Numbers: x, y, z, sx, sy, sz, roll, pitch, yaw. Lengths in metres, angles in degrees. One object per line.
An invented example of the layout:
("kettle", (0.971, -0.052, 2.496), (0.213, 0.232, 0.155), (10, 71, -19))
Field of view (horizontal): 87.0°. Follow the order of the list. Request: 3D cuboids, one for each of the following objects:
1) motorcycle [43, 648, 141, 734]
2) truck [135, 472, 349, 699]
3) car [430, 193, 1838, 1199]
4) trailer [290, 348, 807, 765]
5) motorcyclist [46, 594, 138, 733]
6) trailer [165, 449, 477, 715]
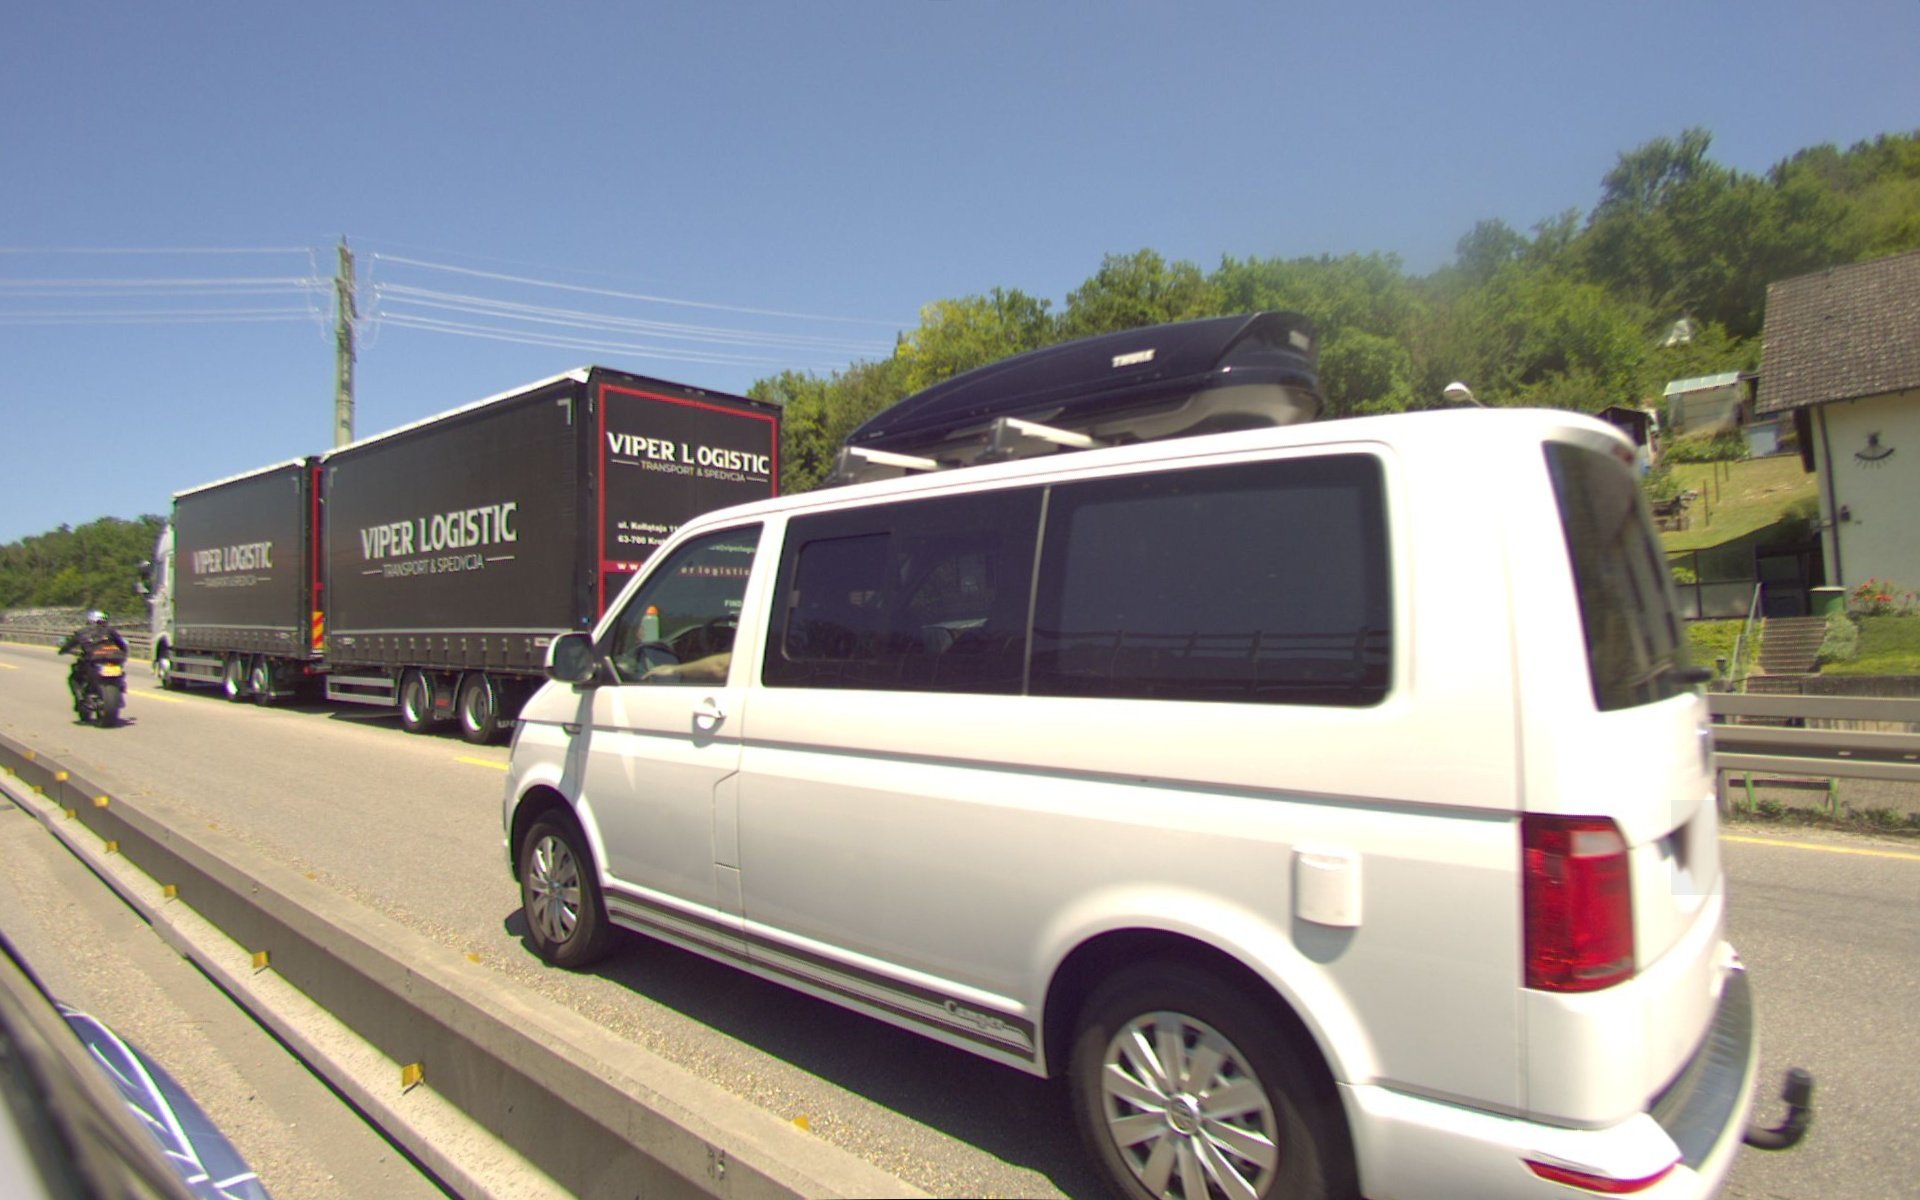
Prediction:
("motorcycle", (-12.327, 1.257, 14.357), (1.911, 1.088, 0.778), (-2, -1, 41))
("truck", (-15.647, -0.239, 21.965), (4.955, 4.316, 2.723), (-1, -1, 42))
("car", (0.053, 0.395, 3.819), (4.896, 1.975, 2.001), (0, 0, 41))
("trailer", (-6.036, -0.318, 13.752), (8.626, 4.101, 2.730), (-2, -1, 40))
("motorcyclist", (-12.288, 0.867, 14.330), (0.983, 1.869, 0.844), (-2, -1, 41))
("trailer", (-12.366, -0.177, 19.191), (8.001, 4.101, 2.729), (-2, -1, 40))
